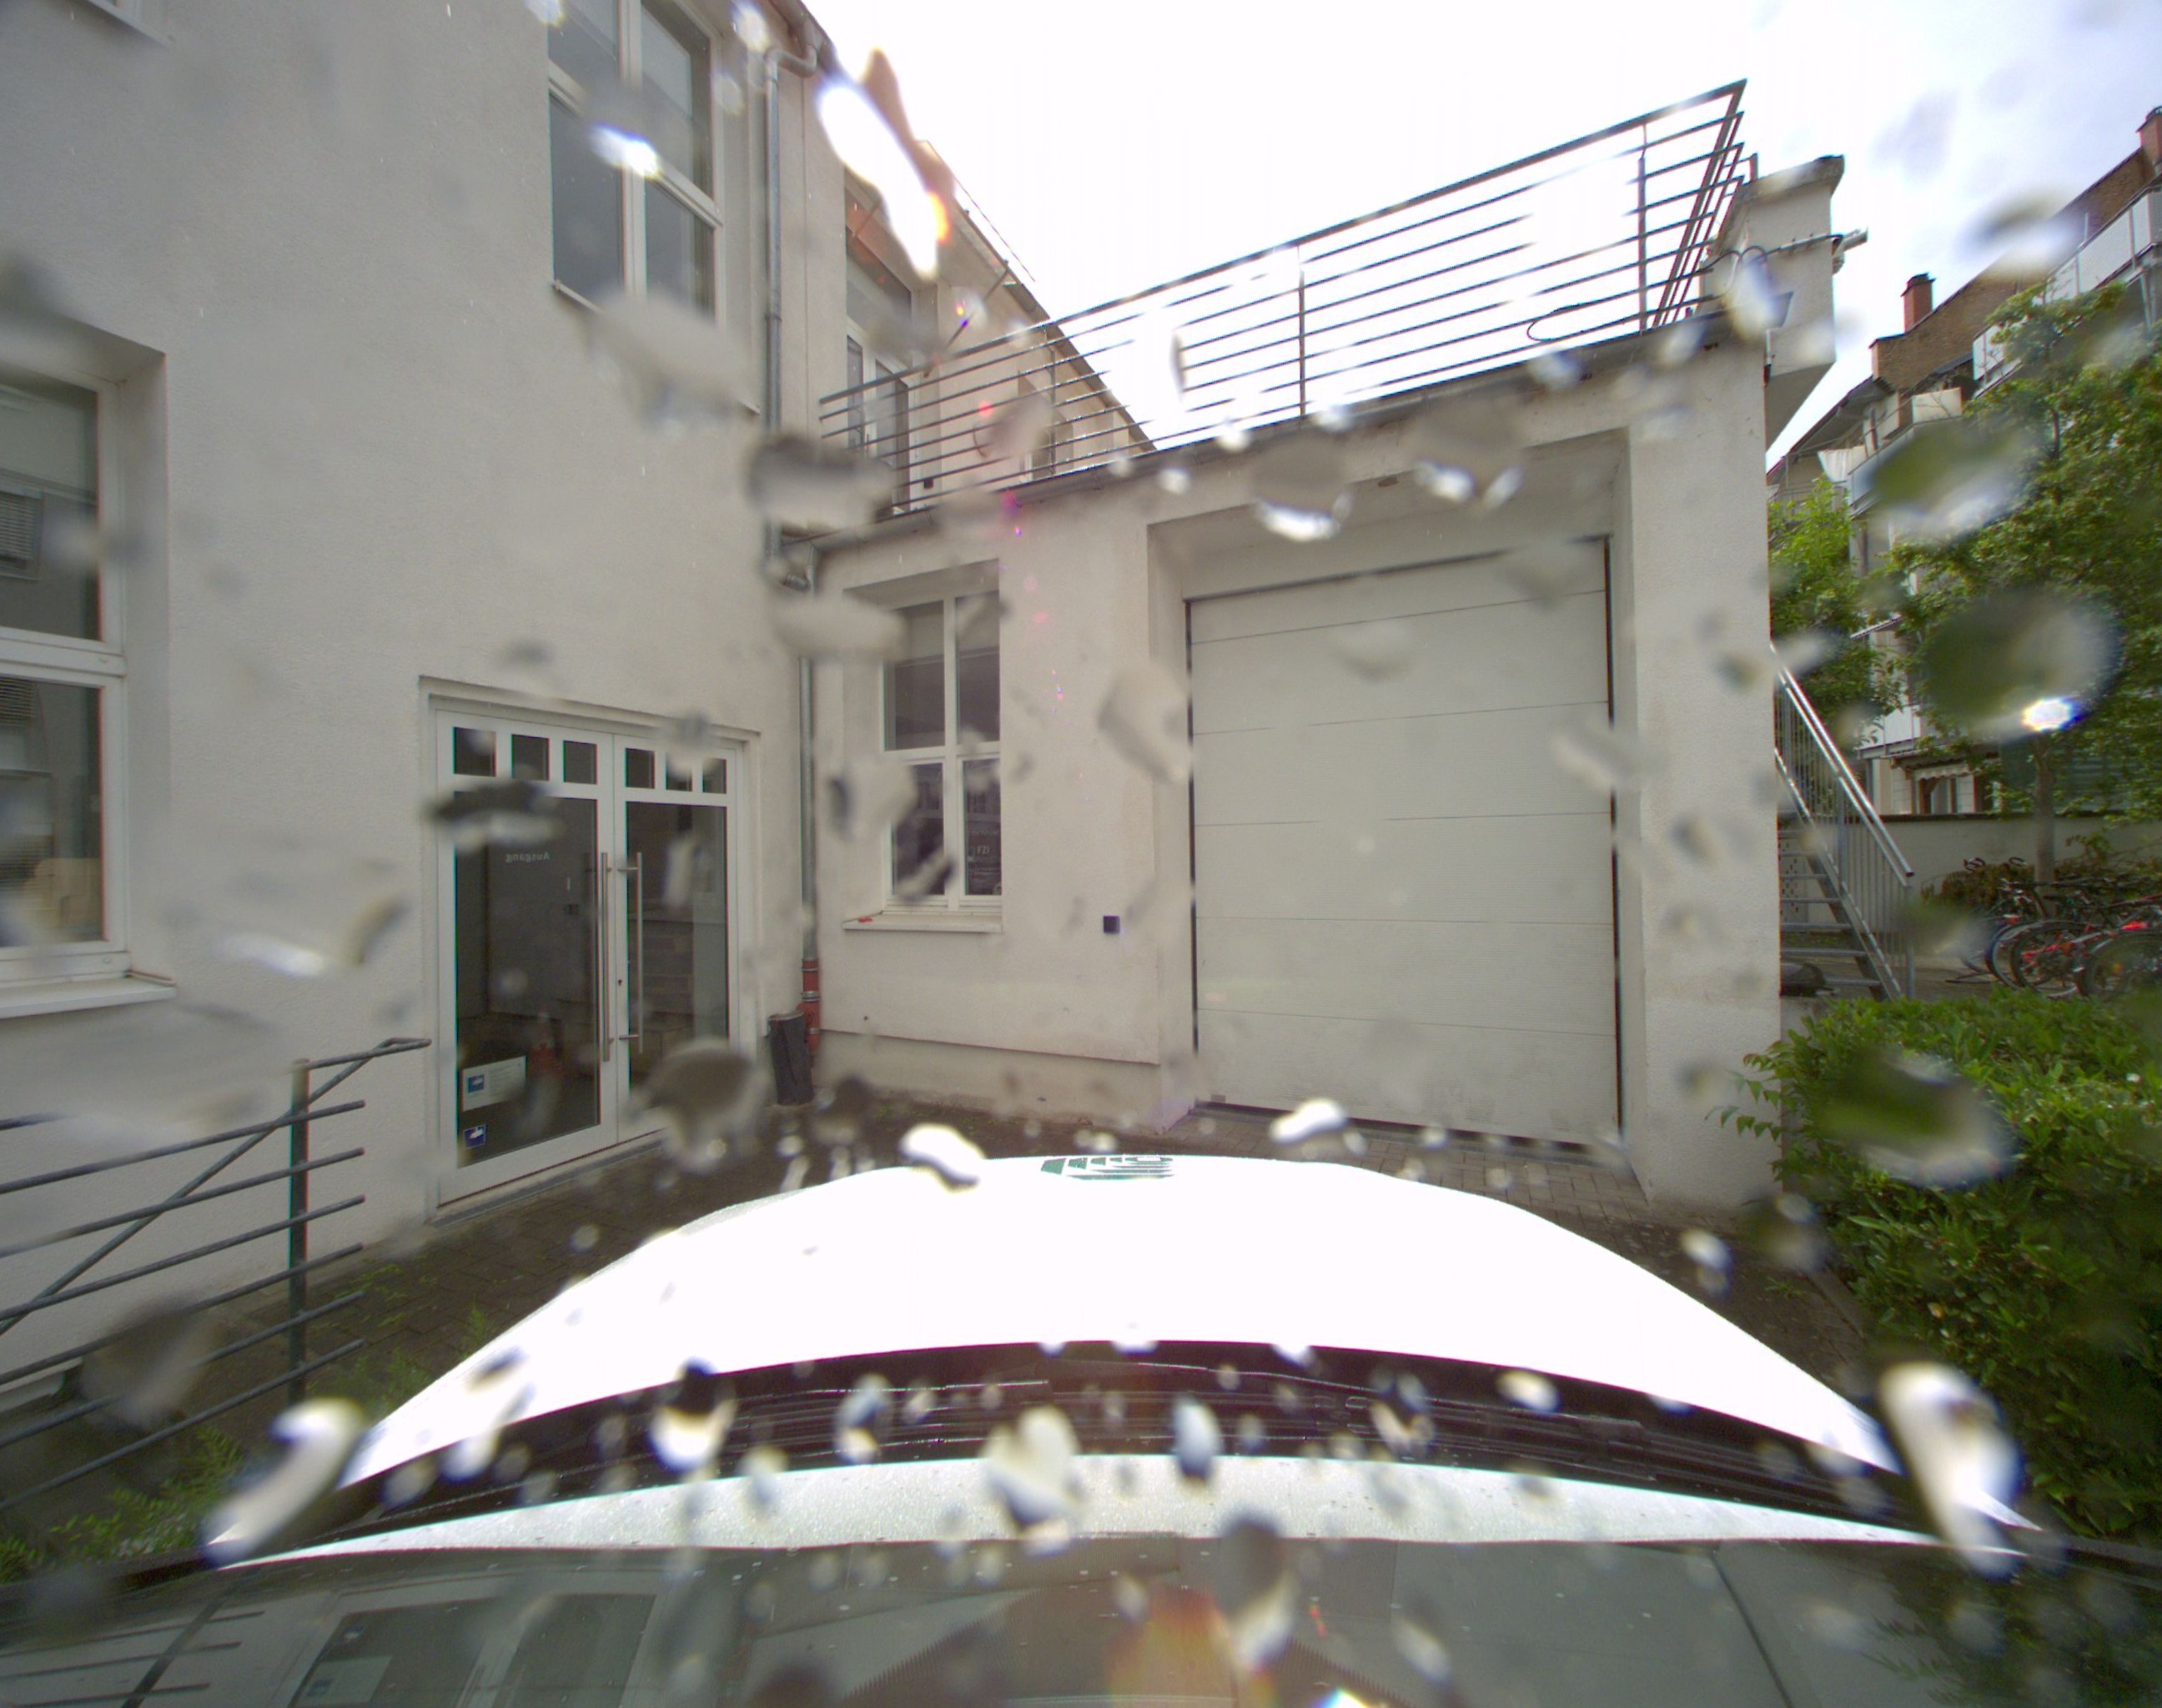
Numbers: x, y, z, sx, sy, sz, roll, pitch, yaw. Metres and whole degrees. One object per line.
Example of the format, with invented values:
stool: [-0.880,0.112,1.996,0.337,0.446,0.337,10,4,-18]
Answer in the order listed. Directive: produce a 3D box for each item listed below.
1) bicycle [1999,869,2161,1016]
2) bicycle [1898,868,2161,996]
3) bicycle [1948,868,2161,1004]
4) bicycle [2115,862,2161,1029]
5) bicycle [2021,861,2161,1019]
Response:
bicycle: [9.130,0.697,6.198,2.818,1.078,0.693,1,1,22]
bicycle: [9.612,0.710,7.546,2.818,1.078,0.693,1,1,22]
bicycle: [9.401,0.698,6.863,2.818,1.078,0.693,1,1,22]
bicycle: [8.423,0.625,4.803,2.898,1.078,0.693,1,1,22]
bicycle: [8.644,0.623,5.610,2.818,1.078,0.693,1,1,22]
